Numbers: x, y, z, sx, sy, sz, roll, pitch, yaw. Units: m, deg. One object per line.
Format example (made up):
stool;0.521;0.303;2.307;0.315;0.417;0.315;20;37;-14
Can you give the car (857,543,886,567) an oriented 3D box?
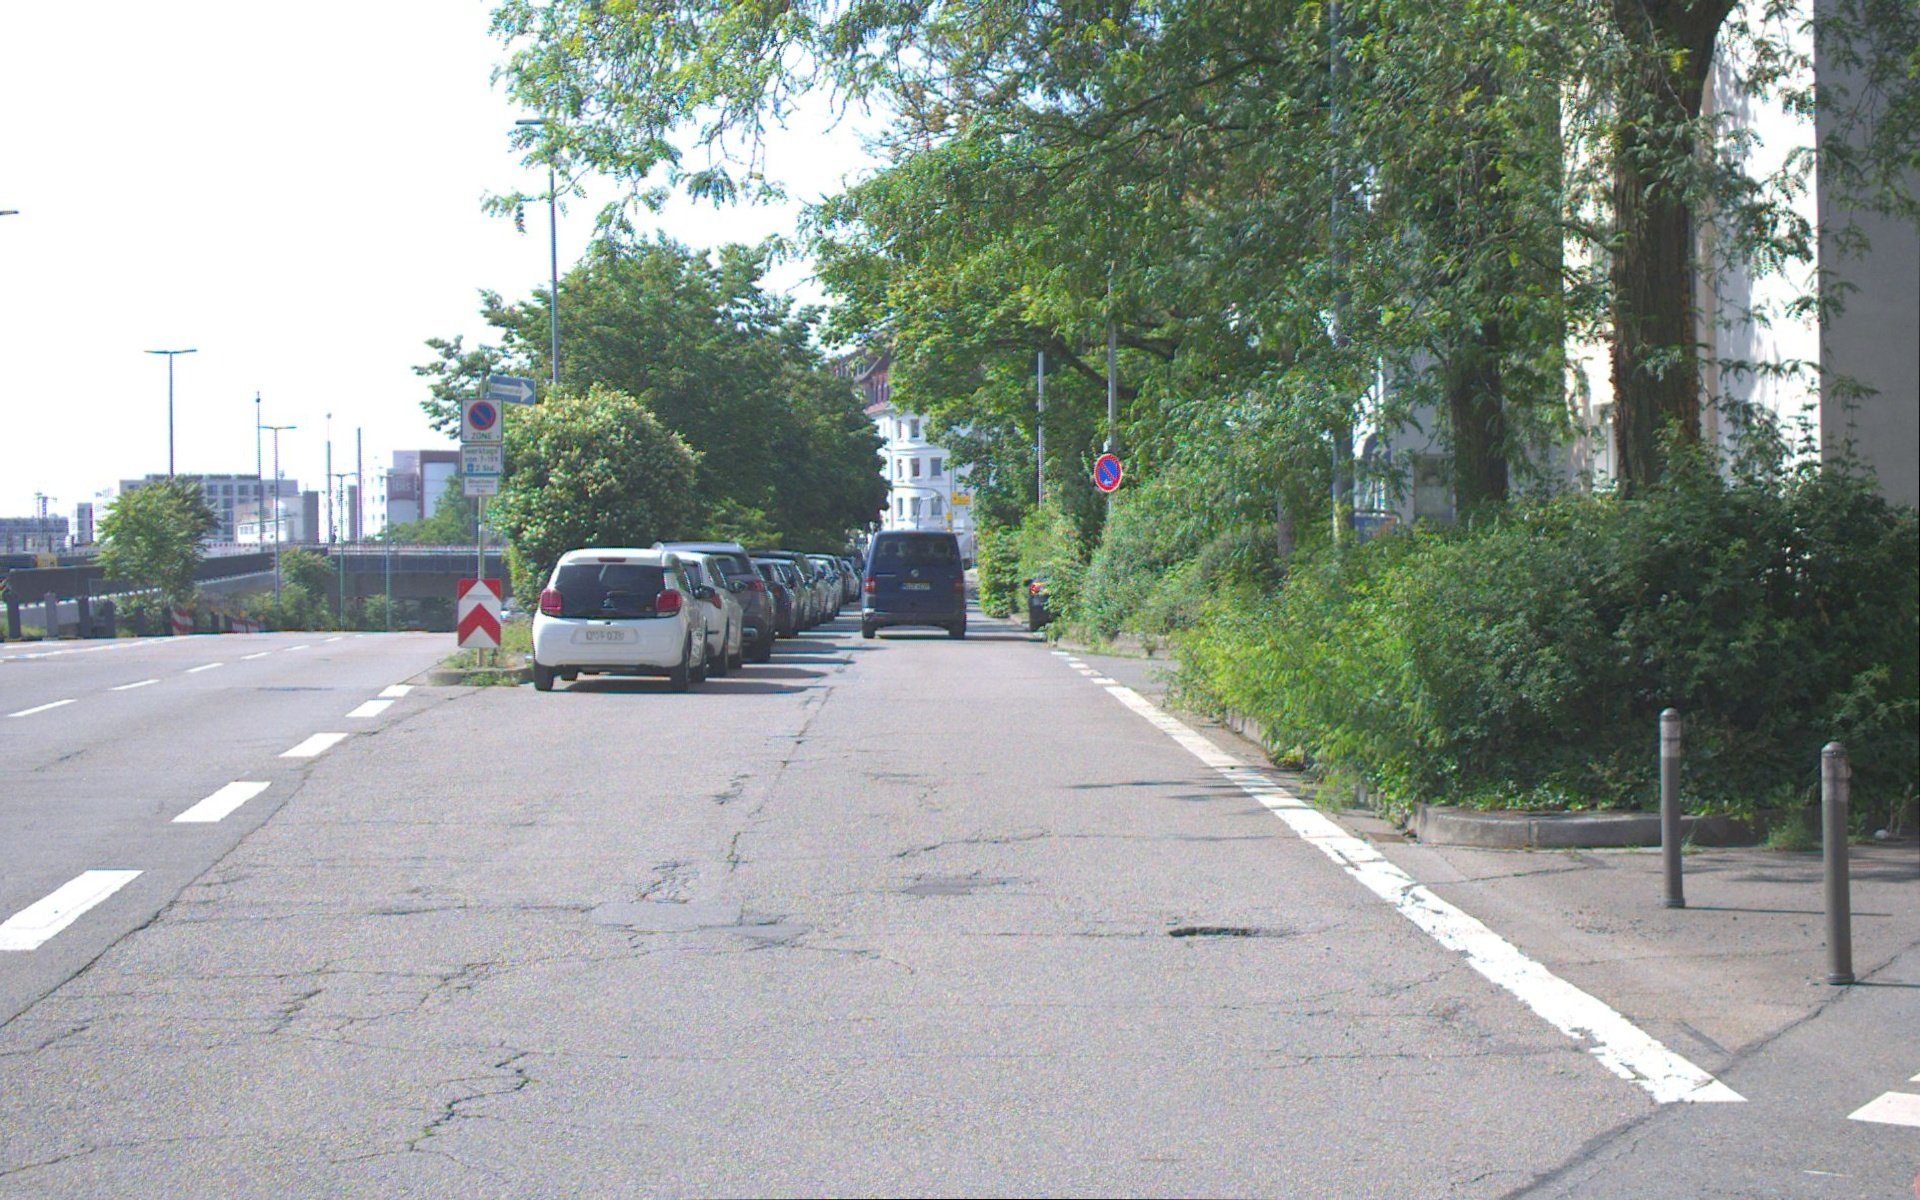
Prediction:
car;-6.186;-3.127;239.646;1.993;1.651;4.000;0;1;-1

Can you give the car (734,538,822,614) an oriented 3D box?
car;-3.861;-0.533;73.420;1.664;1.578;3.932;0;1;0

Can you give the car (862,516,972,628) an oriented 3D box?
car;-0.756;-0.522;62.645;1.883;1.915;4.008;2;1;0

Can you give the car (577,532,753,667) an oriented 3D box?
car;-3.517;-0.040;41.587;1.721;1.500;4.132;2;1;0

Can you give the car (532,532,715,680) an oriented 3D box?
car;-3.582;0.034;37.028;1.619;1.500;3.462;1;1;0

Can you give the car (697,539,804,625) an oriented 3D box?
car;-3.795;-0.358;62.764;1.664;1.468;3.789;2;1;0

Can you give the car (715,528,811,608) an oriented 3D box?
car;-3.902;-0.655;68.596;1.664;1.506;3.789;2;1;0

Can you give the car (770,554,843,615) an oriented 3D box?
car;-3.939;-0.425;88.823;1.664;1.463;4.201;2;1;0

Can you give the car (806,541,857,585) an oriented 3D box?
car;-4.530;-1.324;121.721;1.664;1.504;4.008;-1;1;0

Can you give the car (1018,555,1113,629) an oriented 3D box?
car;2.118;-0.178;69.905;1.726;1.415;4.000;-1;1;-1

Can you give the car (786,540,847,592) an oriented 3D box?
car;-4.392;-1.062;105.657;1.664;1.504;4.008;2;1;0

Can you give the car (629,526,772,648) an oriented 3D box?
car;-3.513;-0.211;47.069;1.771;1.574;4.187;-1;1;-2

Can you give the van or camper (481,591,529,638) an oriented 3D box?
van or camper;-27.653;0.881;208.926;2.296;2.780;5.571;0;1;-1

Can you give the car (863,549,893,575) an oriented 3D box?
car;-5.425;-2.514;227.622;1.993;1.651;4.000;0;1;-1

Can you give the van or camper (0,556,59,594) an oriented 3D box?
van or camper;-33.890;-0.927;125.072;1.466;1.345;4.631;0;1;-6
